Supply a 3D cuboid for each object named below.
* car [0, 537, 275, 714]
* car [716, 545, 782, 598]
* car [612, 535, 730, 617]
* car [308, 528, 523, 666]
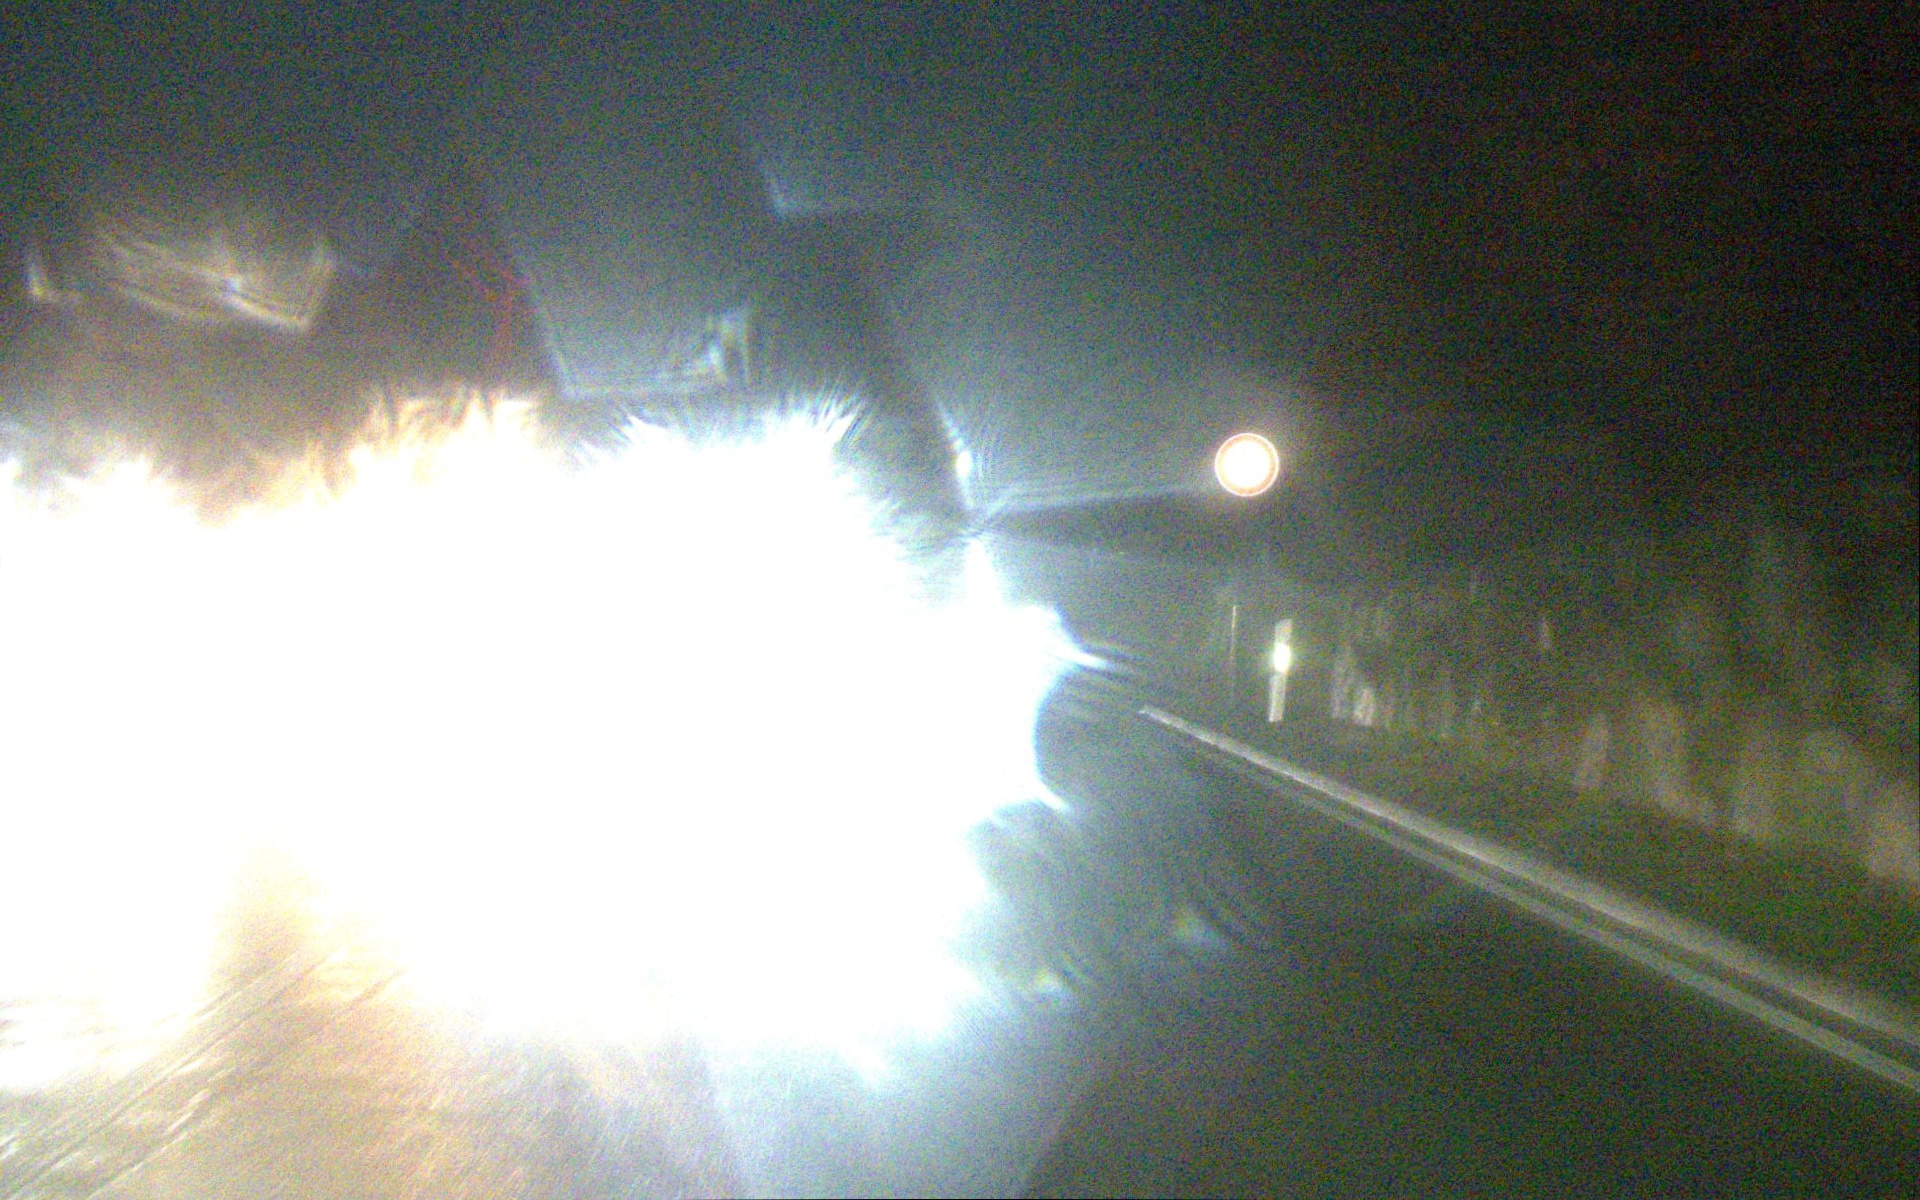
[{"bbox_3d":[-8.196,0.180,32.854,2.083,1.537,4.898,1,1,3],"label":"car"},{"bbox_3d":[-6.775,-0.926,110.714,1.923,1.610,4.085,1,1,-1],"label":"car"},{"bbox_3d":[-5.911,-0.516,70.840,2.110,1.570,4.680,1,1,-1],"label":"car"},{"bbox_3d":[-7.773,-0.084,49.574,1.994,1.858,5.319,1,1,3],"label":"car"}]
